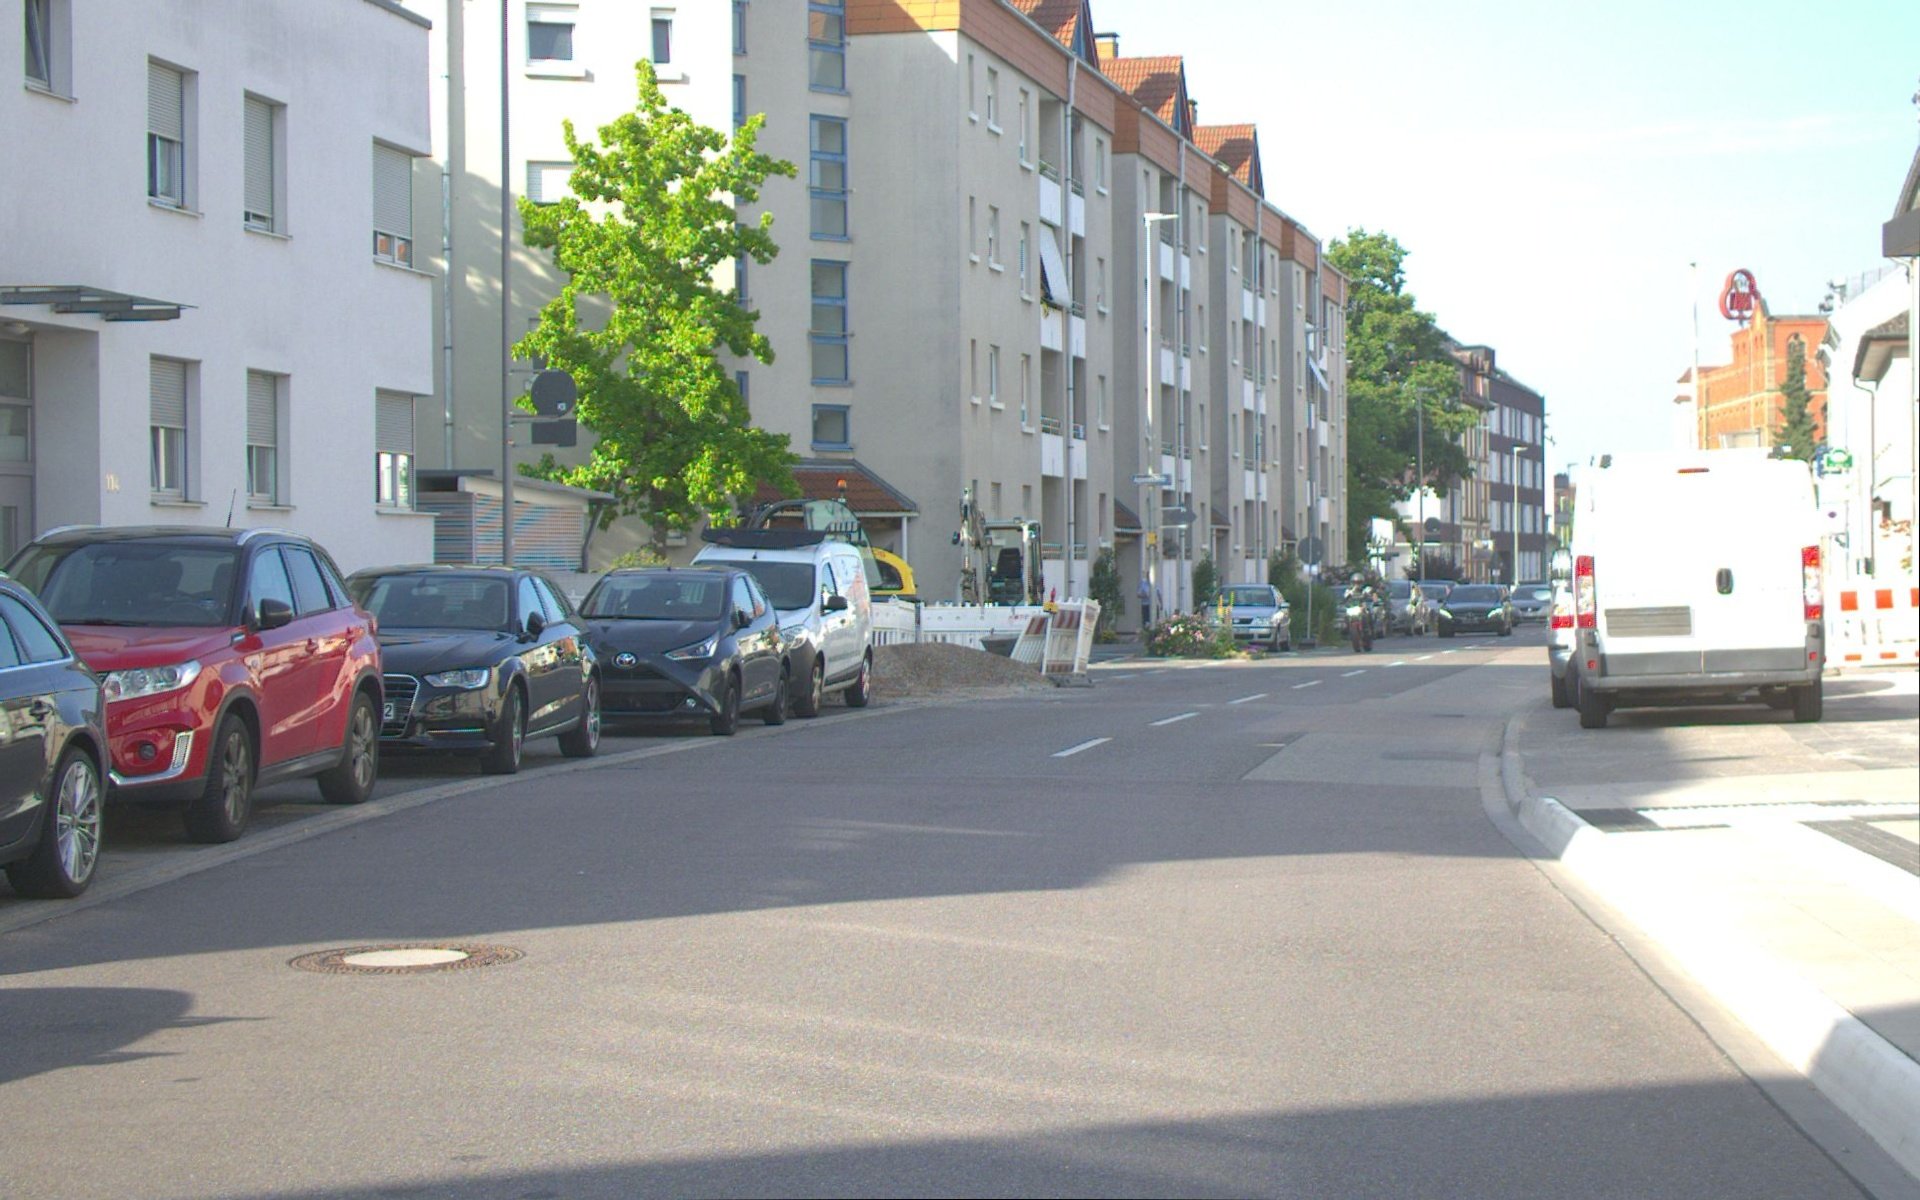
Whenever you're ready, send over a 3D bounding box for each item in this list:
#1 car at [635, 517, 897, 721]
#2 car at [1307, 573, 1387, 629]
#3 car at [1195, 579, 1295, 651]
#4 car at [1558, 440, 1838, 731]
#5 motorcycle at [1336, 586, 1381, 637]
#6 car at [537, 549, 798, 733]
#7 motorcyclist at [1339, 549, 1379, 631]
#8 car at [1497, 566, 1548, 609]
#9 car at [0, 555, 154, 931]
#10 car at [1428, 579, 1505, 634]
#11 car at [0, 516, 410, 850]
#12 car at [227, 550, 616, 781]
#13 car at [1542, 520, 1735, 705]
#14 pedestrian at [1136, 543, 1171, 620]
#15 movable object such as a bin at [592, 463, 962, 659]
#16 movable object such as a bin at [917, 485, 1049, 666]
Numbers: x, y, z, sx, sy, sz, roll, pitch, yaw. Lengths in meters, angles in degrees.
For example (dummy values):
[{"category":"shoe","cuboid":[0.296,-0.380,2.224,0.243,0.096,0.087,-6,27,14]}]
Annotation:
[{"category":"car","cuboid":[-1.920,0.148,35.381,1.728,1.954,4.437,0,1,10]},{"category":"car","cuboid":[10.024,0.008,88.872,1.687,1.401,4.082,1,1,12]},{"category":"car","cuboid":[5.925,0.289,71.165,1.641,1.391,3.670,-1,0,11]},{"category":"car","cuboid":[6.466,-0.147,30.600,2.175,2.319,4.995,-2,1,10]},{"category":"motorcycle","cuboid":[8.115,0.228,69.930,0.768,0.981,2.198,0,1,10]},{"category":"car","cuboid":[-2.517,0.315,30.272,1.493,1.460,3.513,2,1,8]},{"category":"motorcyclist","cuboid":[8.122,-0.208,69.956,0.769,1.646,0.843,0,1,10]},{"category":"car","cuboid":[19.885,-0.453,121.387,1.618,1.450,3.683,0,1,12]},{"category":"car","cuboid":[-4.701,0.567,13.307,1.727,1.473,4.502,1,1,5]},{"category":"car","cuboid":[13.786,0.160,93.435,1.831,1.415,4.207,-1,0,12]},{"category":"car","cuboid":[-4.399,0.366,18.842,1.727,1.616,4.263,0,1,5]},{"category":"car","cuboid":[-3.683,0.388,24.239,1.727,1.473,4.263,0,1,5]},{"category":"car","cuboid":[6.940,0.094,35.416,1.778,1.735,4.481,-2,1,10]},{"category":"pedestrian","cuboid":[4.615,-0.447,82.105,0.719,1.812,0.745,0,1,13]},{"category":"movable object such as a bin","cuboid":[-2.760,-0.600,52.304,5.496,2.890,2.112,0,1,-2]},{"category":"movable object such as a bin","cuboid":[0.450,-0.482,61.764,1.648,3.127,3.898,1,2,11]}]
